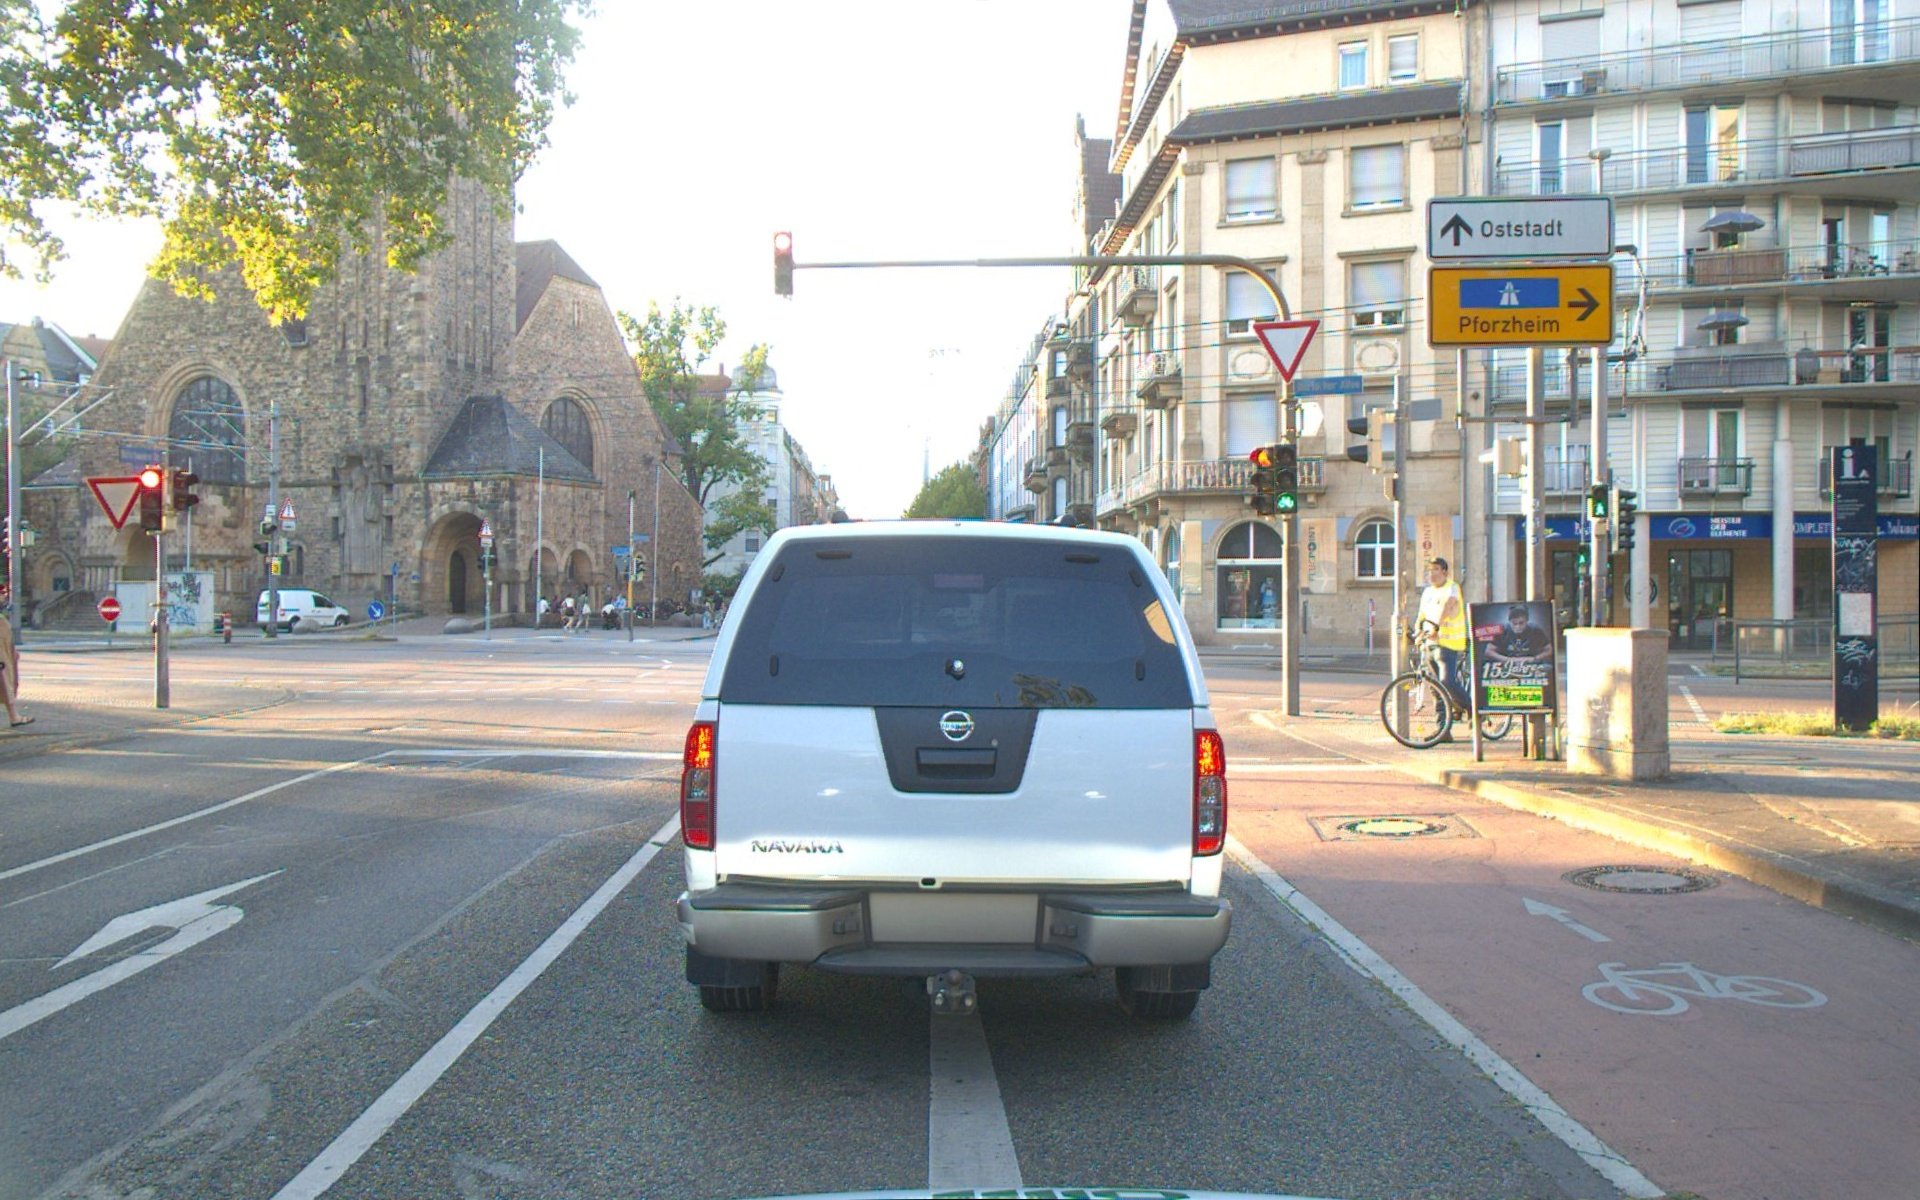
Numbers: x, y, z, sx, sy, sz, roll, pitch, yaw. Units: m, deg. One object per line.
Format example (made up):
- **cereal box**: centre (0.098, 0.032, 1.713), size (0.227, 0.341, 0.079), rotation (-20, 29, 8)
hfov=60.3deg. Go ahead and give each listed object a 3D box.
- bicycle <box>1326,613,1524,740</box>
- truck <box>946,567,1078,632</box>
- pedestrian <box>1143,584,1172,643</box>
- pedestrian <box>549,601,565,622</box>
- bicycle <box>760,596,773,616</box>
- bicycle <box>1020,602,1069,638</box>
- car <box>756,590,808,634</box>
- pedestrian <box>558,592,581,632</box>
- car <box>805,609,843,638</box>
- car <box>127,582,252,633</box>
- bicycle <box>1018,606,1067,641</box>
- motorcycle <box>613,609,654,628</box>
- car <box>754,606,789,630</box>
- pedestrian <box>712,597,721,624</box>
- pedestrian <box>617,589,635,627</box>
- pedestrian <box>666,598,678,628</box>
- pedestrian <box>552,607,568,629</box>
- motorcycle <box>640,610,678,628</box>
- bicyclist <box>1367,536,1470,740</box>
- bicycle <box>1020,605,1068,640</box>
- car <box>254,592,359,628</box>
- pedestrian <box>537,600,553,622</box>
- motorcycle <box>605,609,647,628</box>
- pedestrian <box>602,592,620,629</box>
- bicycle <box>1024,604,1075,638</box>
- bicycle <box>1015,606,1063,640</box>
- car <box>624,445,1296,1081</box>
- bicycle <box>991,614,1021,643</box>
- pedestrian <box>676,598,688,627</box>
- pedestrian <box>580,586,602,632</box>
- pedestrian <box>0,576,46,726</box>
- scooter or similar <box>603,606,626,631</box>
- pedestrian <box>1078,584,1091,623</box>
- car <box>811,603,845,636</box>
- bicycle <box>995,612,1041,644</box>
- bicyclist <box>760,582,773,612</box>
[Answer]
- **bicycle**: centre (4.408, 0.706, 15.625), size (2.046, 1.129, 0.621), rotation (1, -1, -34)
- **truck**: centre (2.216, 0.018, 68.819), size (5.630, 2.610, 2.250), rotation (1, -1, -45)
- **pedestrian**: centre (6.175, 0.429, 51.727), size (0.771, 1.810, 0.543), rotation (0, -1, 24)
- **pedestrian**: centre (-18.116, 0.518, 74.402), size (0.511, 0.977, 0.479), rotation (1, -1, 18)
- **bicycle**: centre (-10.689, 0.327, 91.308), size (0.588, 1.062, 1.940), rotation (1, -1, -11)
- **bicycle**: centre (3.231, 0.762, 63.209), size (1.781, 1.259, 0.487), rotation (-3, -1, -3)
- **car**: centre (-7.881, 0.512, 73.626), size (1.953, 1.815, 4.796), rotation (1, 1, -2)
- **pedestrian**: centre (-16.575, 0.516, 70.178), size (0.796, 1.699, 0.859), rotation (1, -1, -3)
- **car**: centre (-7.886, 1.373, 96.195), size (1.953, 1.585, 4.765), rotation (0, -2, -2)
- **car**: centre (-28.987, 0.288, 62.225), size (3.905, 1.647, 1.999), rotation (0, -8, 22)
- **bicycle**: centre (3.190, 0.920, 63.917), size (1.781, 1.259, 0.477), rotation (-3, -1, -3)
- **motorcycle**: centre (-18.411, 1.048, 93.418), size (2.201, 1.005, 0.707), rotation (1, -1, -7)
- **car**: centre (-11.755, 1.107, 103.383), size (1.821, 1.422, 3.998), rotation (1, -1, -2)
- **pedestrian**: centre (-15.653, 0.689, 106.326), size (0.549, 1.725, 0.643), rotation (1, -1, -9)
- **pedestrian**: centre (-15.328, 0.386, 75.852), size (0.620, 1.728, 0.603), rotation (1, -1, 10)
- **pedestrian**: centre (-16.916, 0.768, 97.246), size (0.631, 1.725, 0.560), rotation (1, -1, -10)
- **pedestrian**: centre (-18.261, 0.810, 75.567), size (0.469, 0.977, 0.522), rotation (0, -1, 29)
- **motorcycle**: centre (-17.443, 1.092, 95.722), size (2.119, 1.005, 0.594), rotation (1, -1, 19)
- **bicyclist**: centre (4.312, 0.354, 15.560), size (0.690, 1.856, 0.621), rotation (2, -1, -33)
- **bicycle**: centre (3.277, 0.895, 64.644), size (1.781, 1.259, 0.412), rotation (-3, -1, -3)
- **car**: centre (-29.220, 0.471, 74.091), size (1.679, 1.543, 4.454), rotation (1, -1, 23)
- **pedestrian**: centre (-18.730, 0.511, 74.667), size (0.511, 0.977, 0.479), rotation (1, -1, 18)
- **motorcycle**: centre (-18.473, 1.023, 91.390), size (2.201, 1.005, 0.707), rotation (1, -1, -7)
- **pedestrian**: centre (-16.040, 0.484, 76.004), size (0.620, 1.728, 0.603), rotation (1, -1, 10)
- **bicycle**: centre (3.367, 0.781, 62.270), size (1.781, 1.170, 0.636), rotation (-3, -1, -3)
- **bicycle**: centre (3.147, 0.909, 65.778), size (1.818, 1.259, 0.530), rotation (-3, -1, -3)
- **car**: centre (-0.023, 0.507, 6.887), size (1.953, 1.841, 3.999), rotation (1, -1, -1)
- **bicycle**: centre (1.769, 1.106, 63.588), size (1.055, 1.042, 0.317), rotation (-3, -1, -3)
- **pedestrian**: centre (-16.737, 0.757, 99.550), size (0.630, 1.725, 0.561), rotation (1, -1, -2)
- **pedestrian**: centre (-15.647, 0.384, 70.176), size (0.796, 1.934, 0.666), rotation (1, -1, -3)
- **pedestrian**: centre (-10.896, 0.561, 18.615), size (0.786, 1.656, 0.773), rotation (1, -1, -6)
- **scooter or similar**: centre (-15.658, 0.829, 74.968), size (0.620, 1.123, 1.079), rotation (-1, -2, 14)
- **pedestrian**: centre (5.412, 0.145, 71.788), size (0.517, 1.683, 0.547), rotation (1, -1, -1)
- **car**: centre (-8.542, 1.281, 107.461), size (1.953, 2.049, 4.948), rotation (0, -1, -2)
- **bicycle**: centre (2.198, 1.058, 62.712), size (1.692, 1.102, 0.317), rotation (-3, -1, -3)
- **bicyclist**: centre (-10.666, -0.162, 91.226), size (0.588, 1.673, 0.960), rotation (1, -1, -11)
